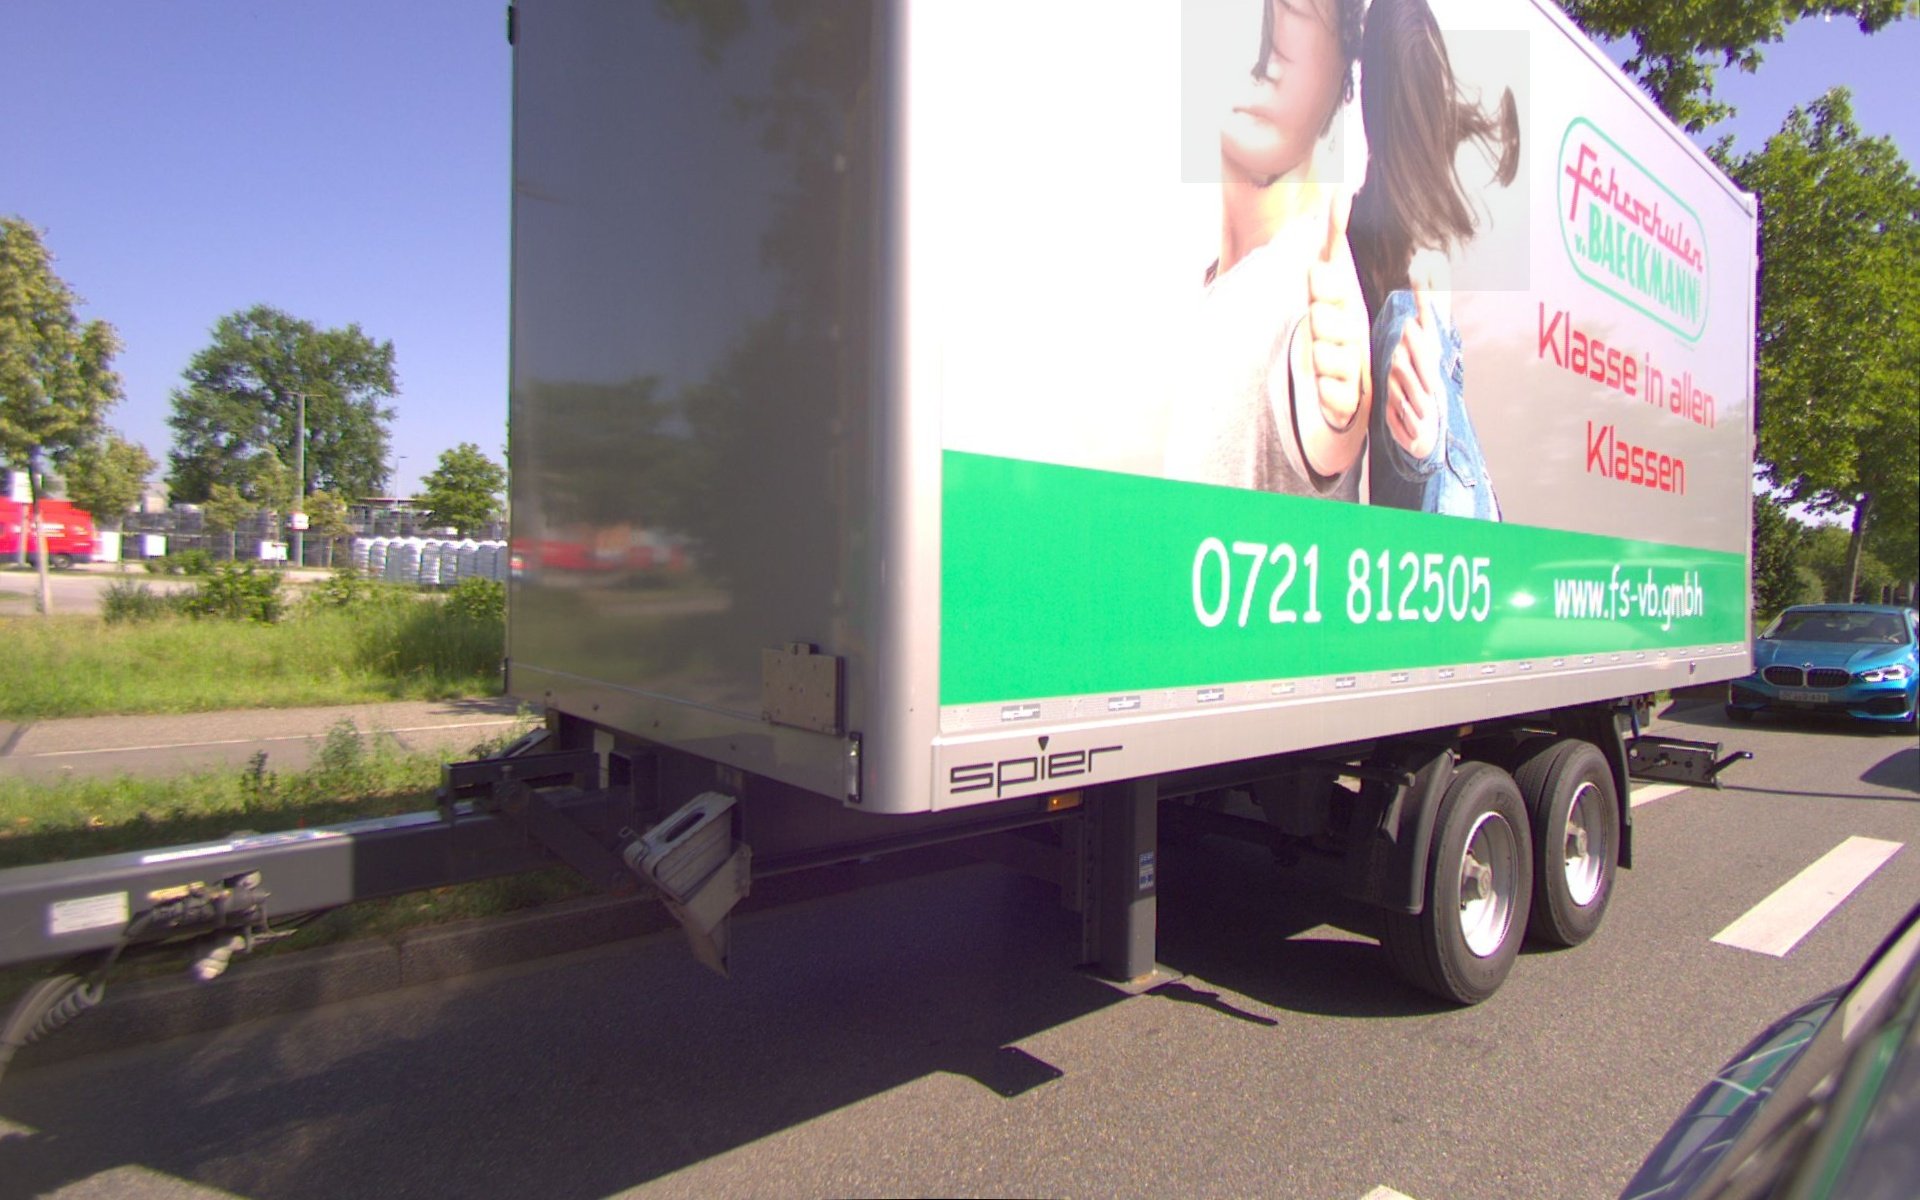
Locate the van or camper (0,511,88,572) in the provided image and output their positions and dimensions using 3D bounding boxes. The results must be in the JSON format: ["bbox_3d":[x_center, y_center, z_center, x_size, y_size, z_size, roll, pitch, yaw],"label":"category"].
[{"bbox_3d":[-45.366,-2.732,47.236,1.971,2.739,7.253,0,0,15],"label":"van or camper"}]

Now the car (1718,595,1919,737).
[{"bbox_3d":[11.139,0.688,12.621,4.058,1.437,1.871,0,2,-41],"label":"car"}]

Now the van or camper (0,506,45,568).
[{"bbox_3d":[-48.798,-3.114,48.649,1.971,2.979,7.253,0,0,15],"label":"van or camper"}]

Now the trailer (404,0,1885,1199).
[{"bbox_3d":[1.826,-0.718,4.905,7.596,3.925,2.743,-1,2,-39],"label":"trailer"}]
